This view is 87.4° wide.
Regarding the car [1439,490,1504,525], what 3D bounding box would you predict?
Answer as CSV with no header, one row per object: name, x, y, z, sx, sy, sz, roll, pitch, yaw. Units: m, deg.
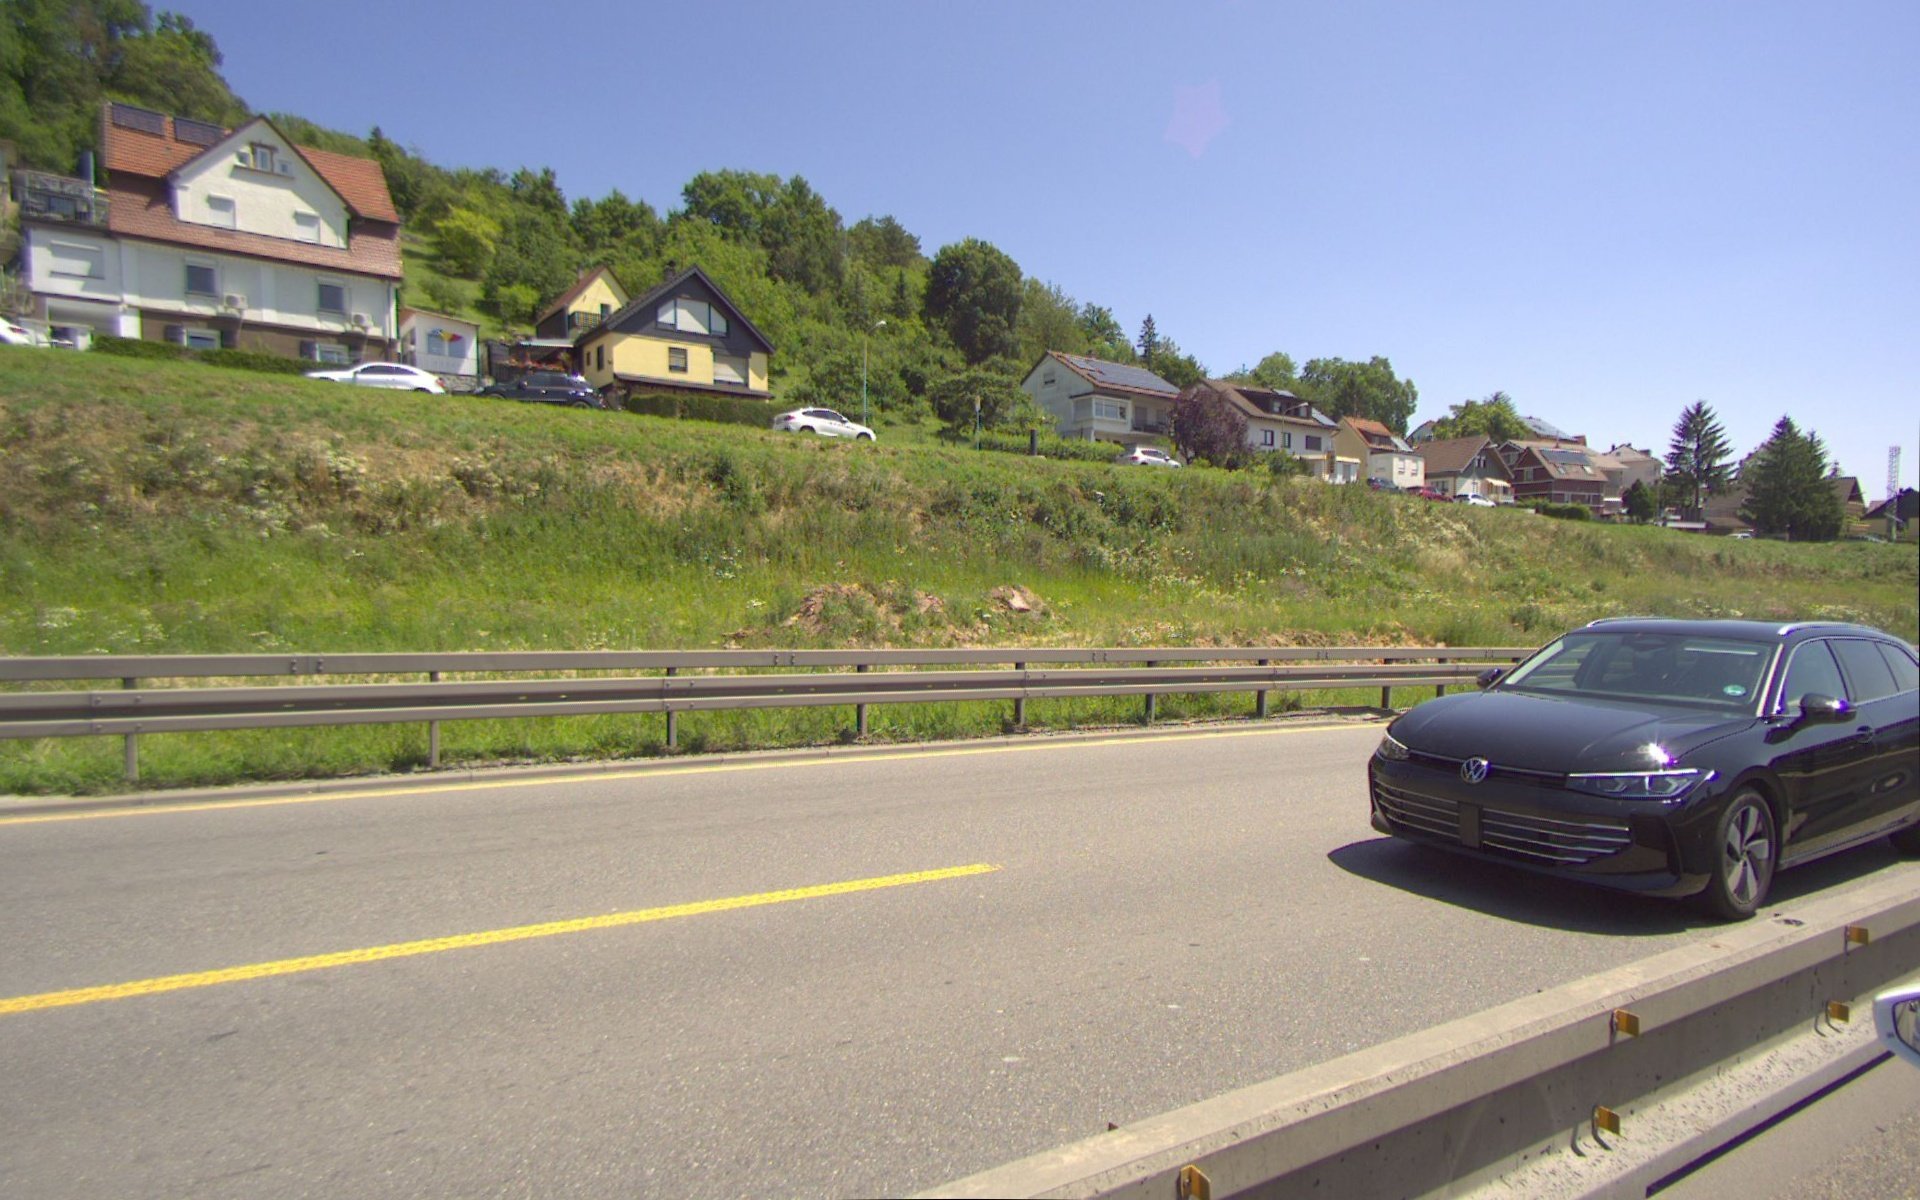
car,38.917,-6.982,76.406,4.768,2.068,2.334,3,-1,-34

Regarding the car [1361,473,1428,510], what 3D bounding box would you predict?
car,29.480,-7.318,68.128,4.720,1.817,2.162,3,-1,-37

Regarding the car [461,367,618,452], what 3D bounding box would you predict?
car,-15.289,-6.860,36.637,4.925,2.035,2.057,3,-1,-36

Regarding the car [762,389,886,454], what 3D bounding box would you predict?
car,-5.848,-7.655,43.583,4.966,1.817,1.979,3,-1,-37

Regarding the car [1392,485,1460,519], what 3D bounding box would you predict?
car,33.803,-7.072,72.831,4.752,1.817,2.333,3,-1,-34

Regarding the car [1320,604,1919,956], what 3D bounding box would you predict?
car,4.630,0.830,6.334,4.779,1.495,1.833,2,0,-31

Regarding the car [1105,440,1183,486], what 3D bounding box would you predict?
car,9.953,-7.351,54.181,3.964,1.817,1.979,3,-1,-37

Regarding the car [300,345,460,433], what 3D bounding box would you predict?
car,-19.241,-6.931,33.414,4.389,1.896,1.980,3,-1,-36

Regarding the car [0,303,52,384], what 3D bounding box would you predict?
car,-27.325,-7.158,26.737,4.516,1.677,1.977,3,-1,-40

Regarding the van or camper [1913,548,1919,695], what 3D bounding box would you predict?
van or camper,23.693,0.534,22.025,6.844,3.107,2.280,1,0,-31
